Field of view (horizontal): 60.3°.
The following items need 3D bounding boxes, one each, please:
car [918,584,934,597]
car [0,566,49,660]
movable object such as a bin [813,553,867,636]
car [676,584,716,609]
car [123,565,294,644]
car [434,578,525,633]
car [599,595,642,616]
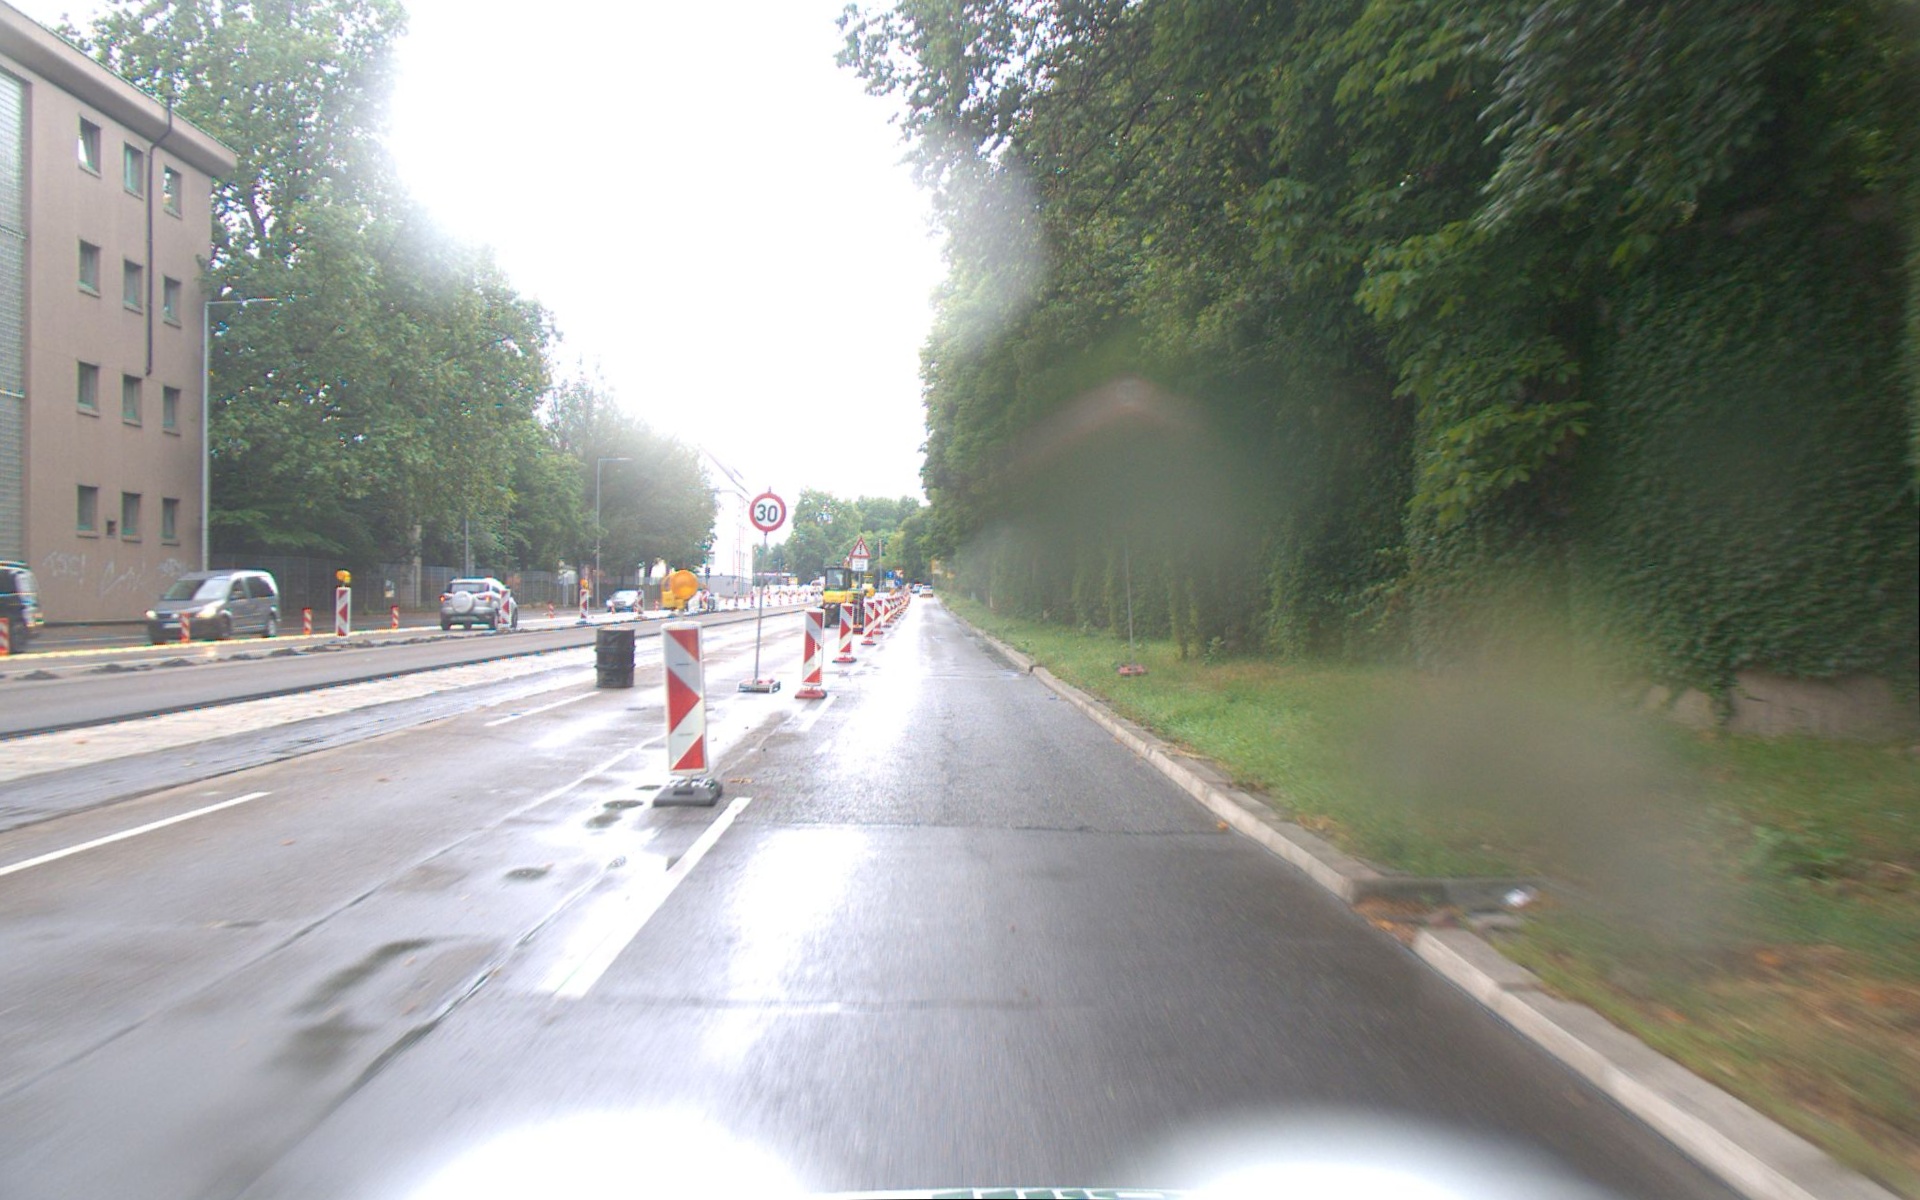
[{"bbox_3d":[-4.460,-1.260,217.591,1.953,1.702,3.999,1,0,-1],"label":"car"},{"bbox_3d":[-20.825,0.242,33.474,1.953,1.952,5.361,1,0,-2],"label":"car"},{"bbox_3d":[-5.160,-0.215,71.926,1.953,3.426,5.980,1,0,-1],"label":"movable object such as a bin"},{"bbox_3d":[-16.848,-0.218,105.757,1.953,1.545,3.999,1,0,-2],"label":"car"},{"bbox_3d":[-18.710,0.107,41.459,1.952,1.811,4.954,1,0,1],"label":"car"},{"bbox_3d":[-15.510,0.171,53.538,1.817,1.677,3.999,1,0,-1],"label":"car"},{"bbox_3d":[-22.659,0.361,110.689,1.953,1.371,4.790,1,0,-1],"label":"car"}]
